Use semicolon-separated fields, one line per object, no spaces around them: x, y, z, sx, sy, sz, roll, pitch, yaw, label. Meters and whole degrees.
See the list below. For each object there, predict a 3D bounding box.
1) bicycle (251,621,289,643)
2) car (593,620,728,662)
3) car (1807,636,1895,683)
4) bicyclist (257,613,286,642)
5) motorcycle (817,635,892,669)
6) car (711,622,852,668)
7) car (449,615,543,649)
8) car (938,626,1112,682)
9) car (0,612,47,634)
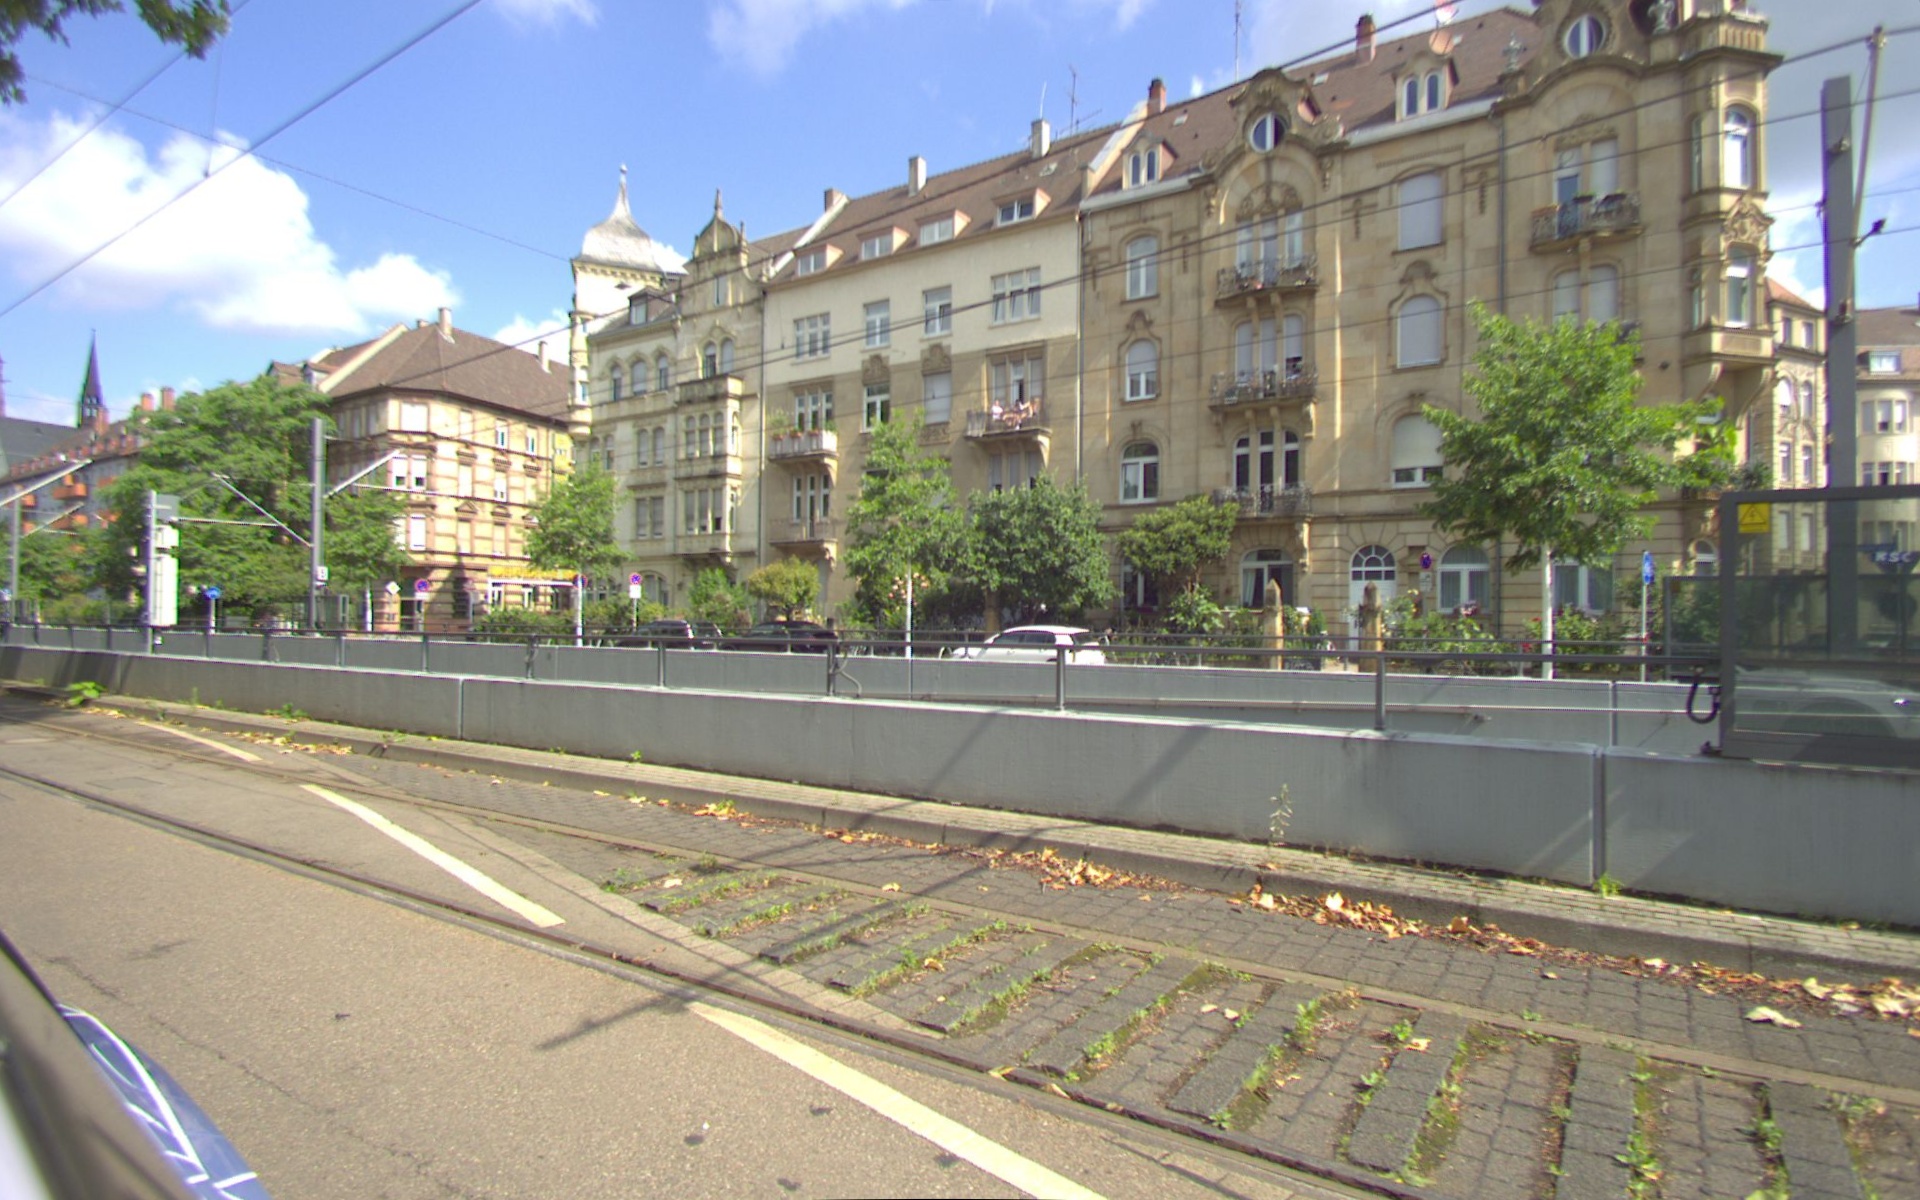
-33.459;1.542;49.042;2.136;0.986;0.769;-1;-4;35;bicycle
-10.330;1.387;34.784;4.714;1.337;1.932;-1;-2;35;car
27.118;1.767;30.882;1.498;1.323;3.204;0;-2;32;car
-33.265;1.323;48.913;1.046;1.348;0.761;-1;-4;35;bicyclist
-3.129;1.559;30.097;1.413;0.949;1.746;0;-4;33;motorcycle
-5.623;1.368;31.804;4.087;1.337;2.004;-1;-2;32;car
-23.212;1.591;50.763;2.025;1.618;3.929;0;-1;25;car
1.690;1.393;26.783;4.299;1.338;1.738;0;-2;33;car
-71.964;1.744;77.588;4.103;1.650;1.977;-1;-2;34;car
